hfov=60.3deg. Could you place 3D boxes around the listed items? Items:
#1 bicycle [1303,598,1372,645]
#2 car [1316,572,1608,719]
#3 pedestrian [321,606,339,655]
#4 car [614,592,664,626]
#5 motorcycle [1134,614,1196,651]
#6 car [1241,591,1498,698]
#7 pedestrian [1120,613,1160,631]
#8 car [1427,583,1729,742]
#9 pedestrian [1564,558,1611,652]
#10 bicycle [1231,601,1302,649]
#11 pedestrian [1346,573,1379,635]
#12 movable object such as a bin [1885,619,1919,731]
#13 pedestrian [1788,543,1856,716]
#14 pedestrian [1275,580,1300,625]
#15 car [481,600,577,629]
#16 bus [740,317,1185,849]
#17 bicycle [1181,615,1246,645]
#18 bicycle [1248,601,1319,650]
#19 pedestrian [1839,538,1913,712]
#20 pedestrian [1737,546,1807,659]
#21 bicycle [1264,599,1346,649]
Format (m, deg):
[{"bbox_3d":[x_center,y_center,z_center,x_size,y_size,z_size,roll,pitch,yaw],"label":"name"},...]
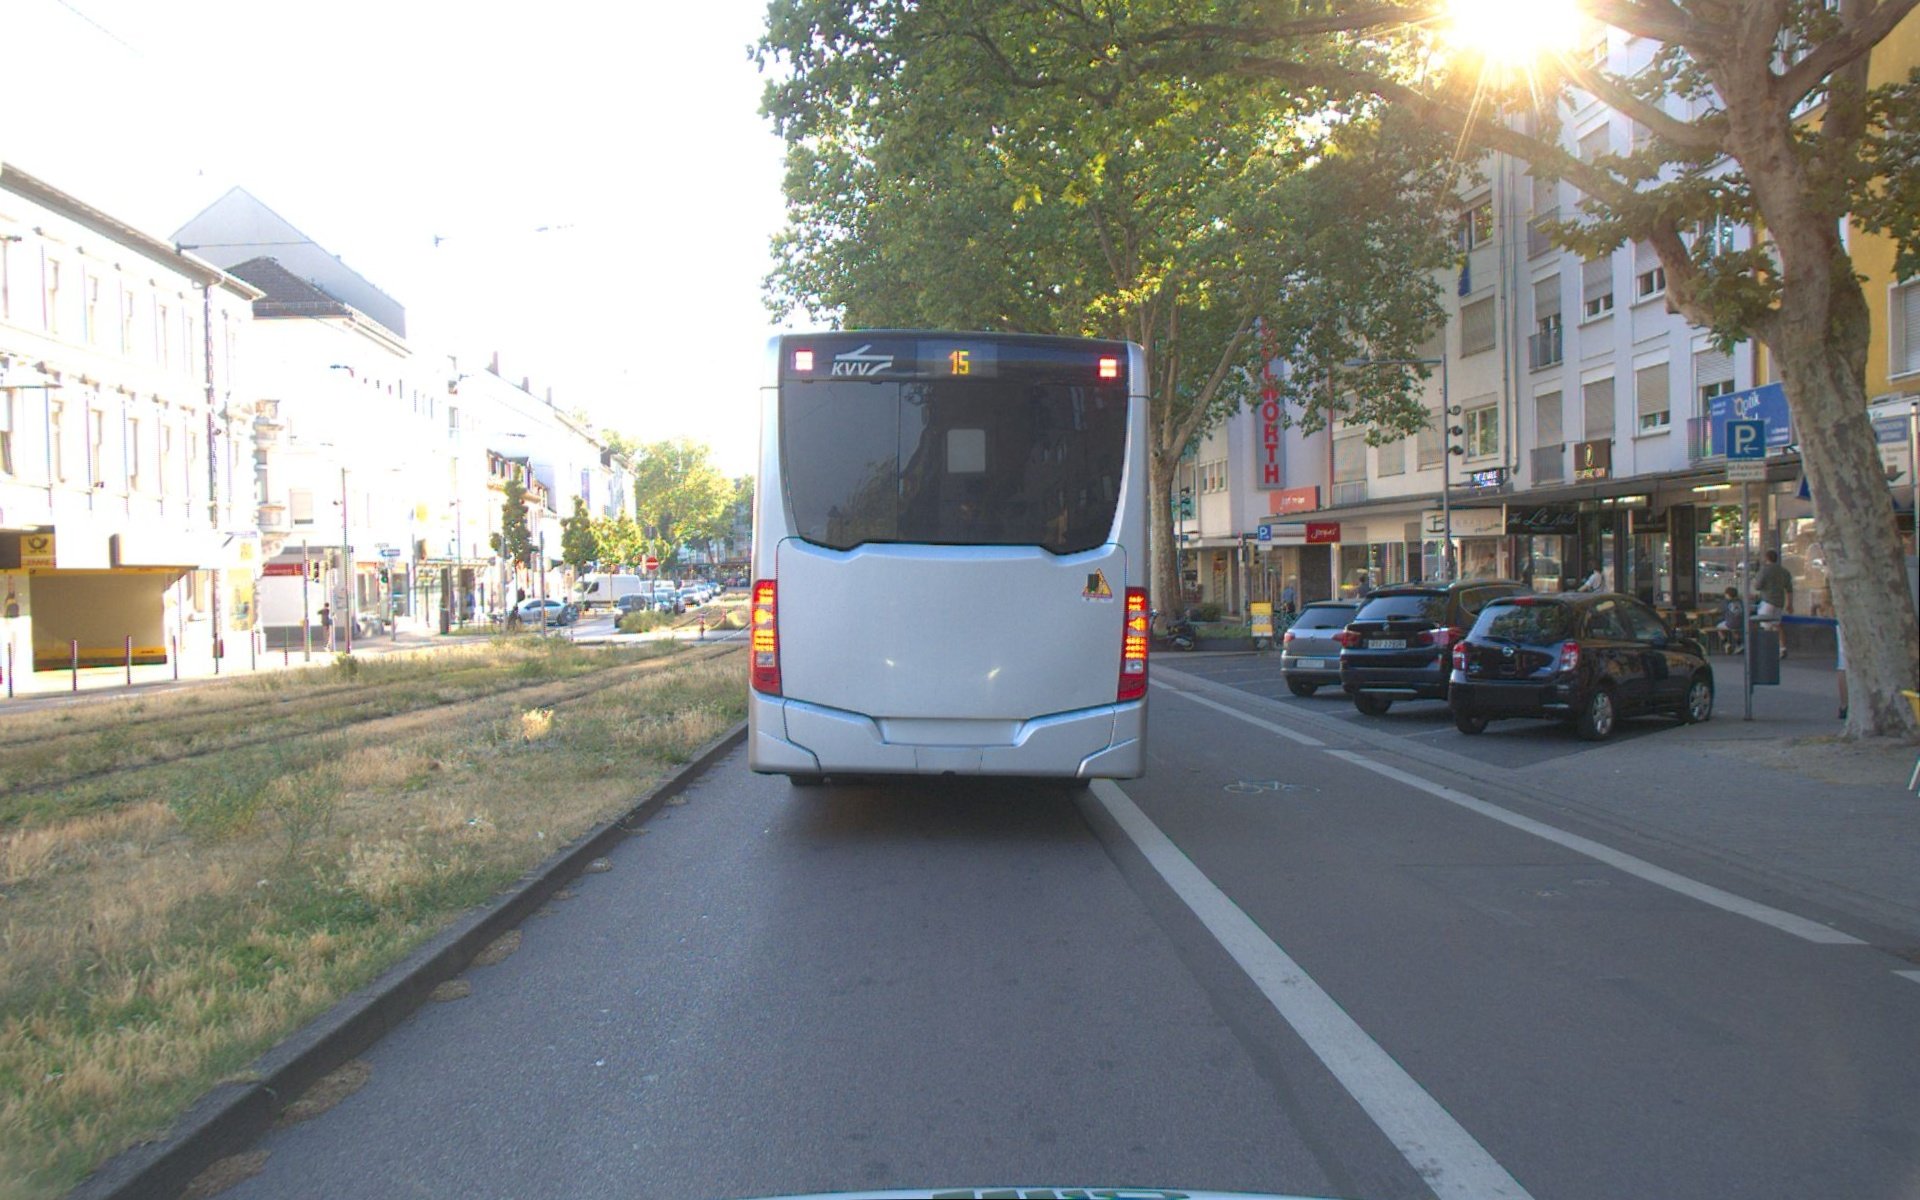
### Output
[{"bbox_3d":[10.197,0.586,44.700,1.727,1.174,0.679,-3,0,7],"label":"bicycle"},{"bbox_3d":[6.612,0.528,21.574,4.116,1.710,1.782,-1,0,-42],"label":"car"},{"bbox_3d":[-22.891,1.102,60.085,0.417,1.743,0.508,-1,0,3],"label":"pedestrian"},{"bbox_3d":[-15.567,0.416,80.411,1.687,1.535,3.476,-3,0,0],"label":"car"},{"bbox_3d":[5.361,0.850,43.271,1.539,0.908,0.544,-1,0,-4],"label":"motorcycle"},{"bbox_3d":[6.427,0.642,25.751,4.137,1.477,1.784,-1,0,-39],"label":"car"},{"bbox_3d":[5.913,0.720,54.303,1.229,0.599,0.482,-1,0,-3],"label":"pedestrian"},{"bbox_3d":[6.953,0.625,18.479,3.578,1.567,1.715,-1,0,-42],"label":"car"},{"bbox_3d":[13.033,0.106,34.365,0.629,1.909,0.824,-1,0,1],"label":"pedestrian"},{"bbox_3d":[8.633,0.692,46.642,1.836,1.210,0.712,-4,0,7],"label":"bicycle"},{"bbox_3d":[11.993,0.118,49.257,0.764,1.825,0.764,-1,0,-1],"label":"pedestrian"},{"bbox_3d":[9.473,0.713,15.691,0.913,1.041,0.834,1,0,-22],"label":"movable object such as a bin"},{"bbox_3d":[9.434,0.313,18.100,0.512,1.864,0.468,-1,0,-39],"label":"pedestrian"},{"bbox_3d":[12.827,0.097,64.856,0.733,1.708,0.834,-1,2,-7],"label":"pedestrian"},{"bbox_3d":[-22.618,0.737,86.893,4.505,1.437,1.973,-1,0,-38],"label":"car"},{"bbox_3d":[0.003,-0.132,13.331,2.623,3.137,7.114,0,1,0],"label":"bus"},{"bbox_3d":[7.375,0.870,48.126,1.836,0.778,0.712,-1,2,7],"label":"bicycle"},{"bbox_3d":[8.918,0.701,45.638,1.753,1.210,0.671,-4,0,-10],"label":"bicycle"},{"bbox_3d":[10.032,0.266,18.114,0.509,1.864,0.471,-1,0,-23],"label":"pedestrian"},{"bbox_3d":[13.618,0.037,27.754,0.692,1.822,0.788,-4,0,4],"label":"pedestrian"},{"bbox_3d":[9.237,0.647,44.352,2.037,1.254,0.832,-2,0,4],"label":"bicycle"}]
